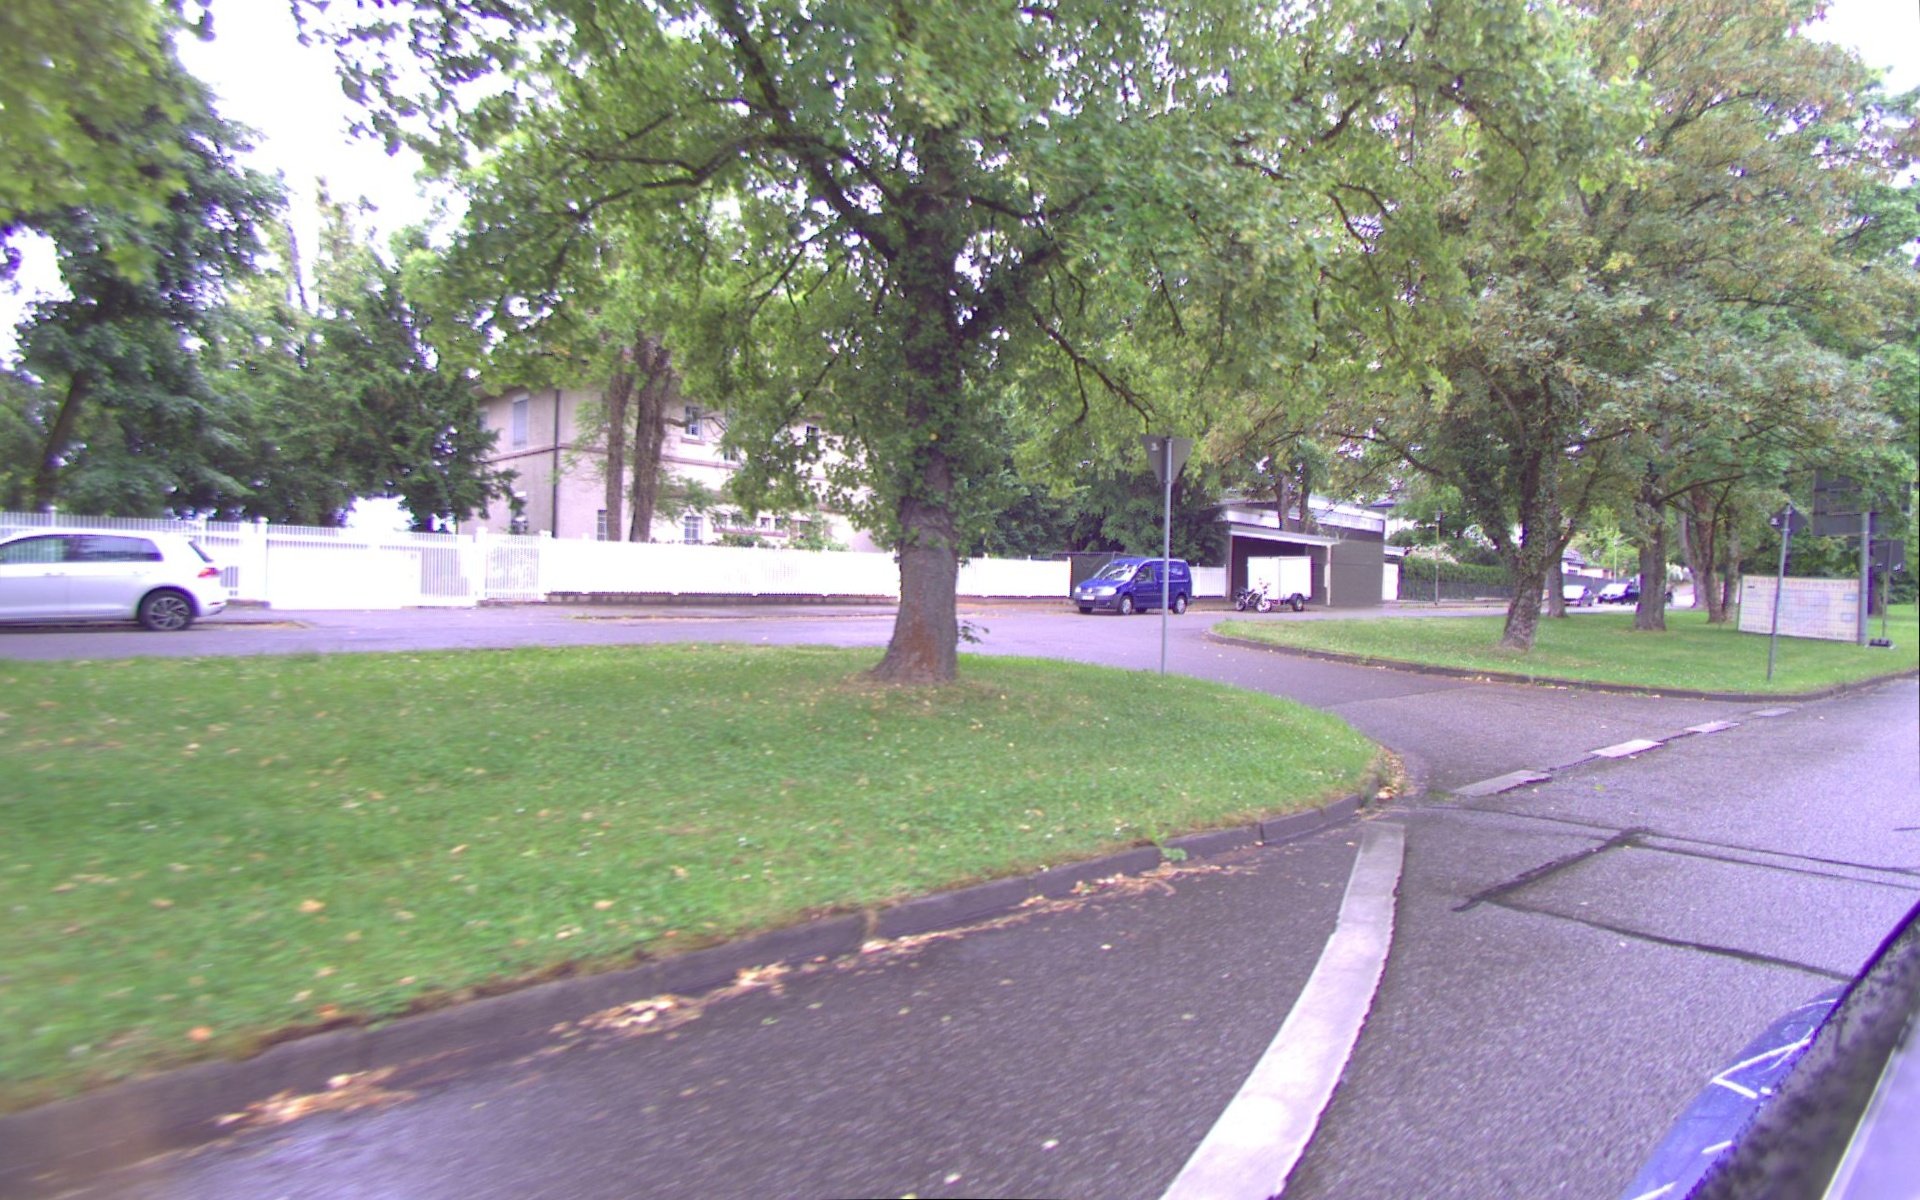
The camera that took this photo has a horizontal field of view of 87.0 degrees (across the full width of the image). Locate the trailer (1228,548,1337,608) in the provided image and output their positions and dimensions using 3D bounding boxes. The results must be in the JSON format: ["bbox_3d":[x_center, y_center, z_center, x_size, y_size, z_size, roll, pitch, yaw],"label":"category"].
[{"bbox_3d":[12.424,-0.808,38.789,5.107,2.143,1.768,-1,0,-44],"label":"trailer"}]

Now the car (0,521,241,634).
[{"bbox_3d":[-12.790,-0.297,14.293,4.057,1.467,1.994,-1,0,-45],"label":"car"}]

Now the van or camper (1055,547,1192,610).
[{"bbox_3d":[5.262,-0.656,32.095,1.993,1.831,4.700,0,0,44],"label":"van or camper"}]

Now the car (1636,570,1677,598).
[{"bbox_3d":[58.262,-1.327,84.598,3.932,2.039,1.996,2,0,-43],"label":"car"}]

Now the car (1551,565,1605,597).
[{"bbox_3d":[41.586,-1.279,68.040,3.931,2.038,1.997,0,2,-42],"label":"car"}]
